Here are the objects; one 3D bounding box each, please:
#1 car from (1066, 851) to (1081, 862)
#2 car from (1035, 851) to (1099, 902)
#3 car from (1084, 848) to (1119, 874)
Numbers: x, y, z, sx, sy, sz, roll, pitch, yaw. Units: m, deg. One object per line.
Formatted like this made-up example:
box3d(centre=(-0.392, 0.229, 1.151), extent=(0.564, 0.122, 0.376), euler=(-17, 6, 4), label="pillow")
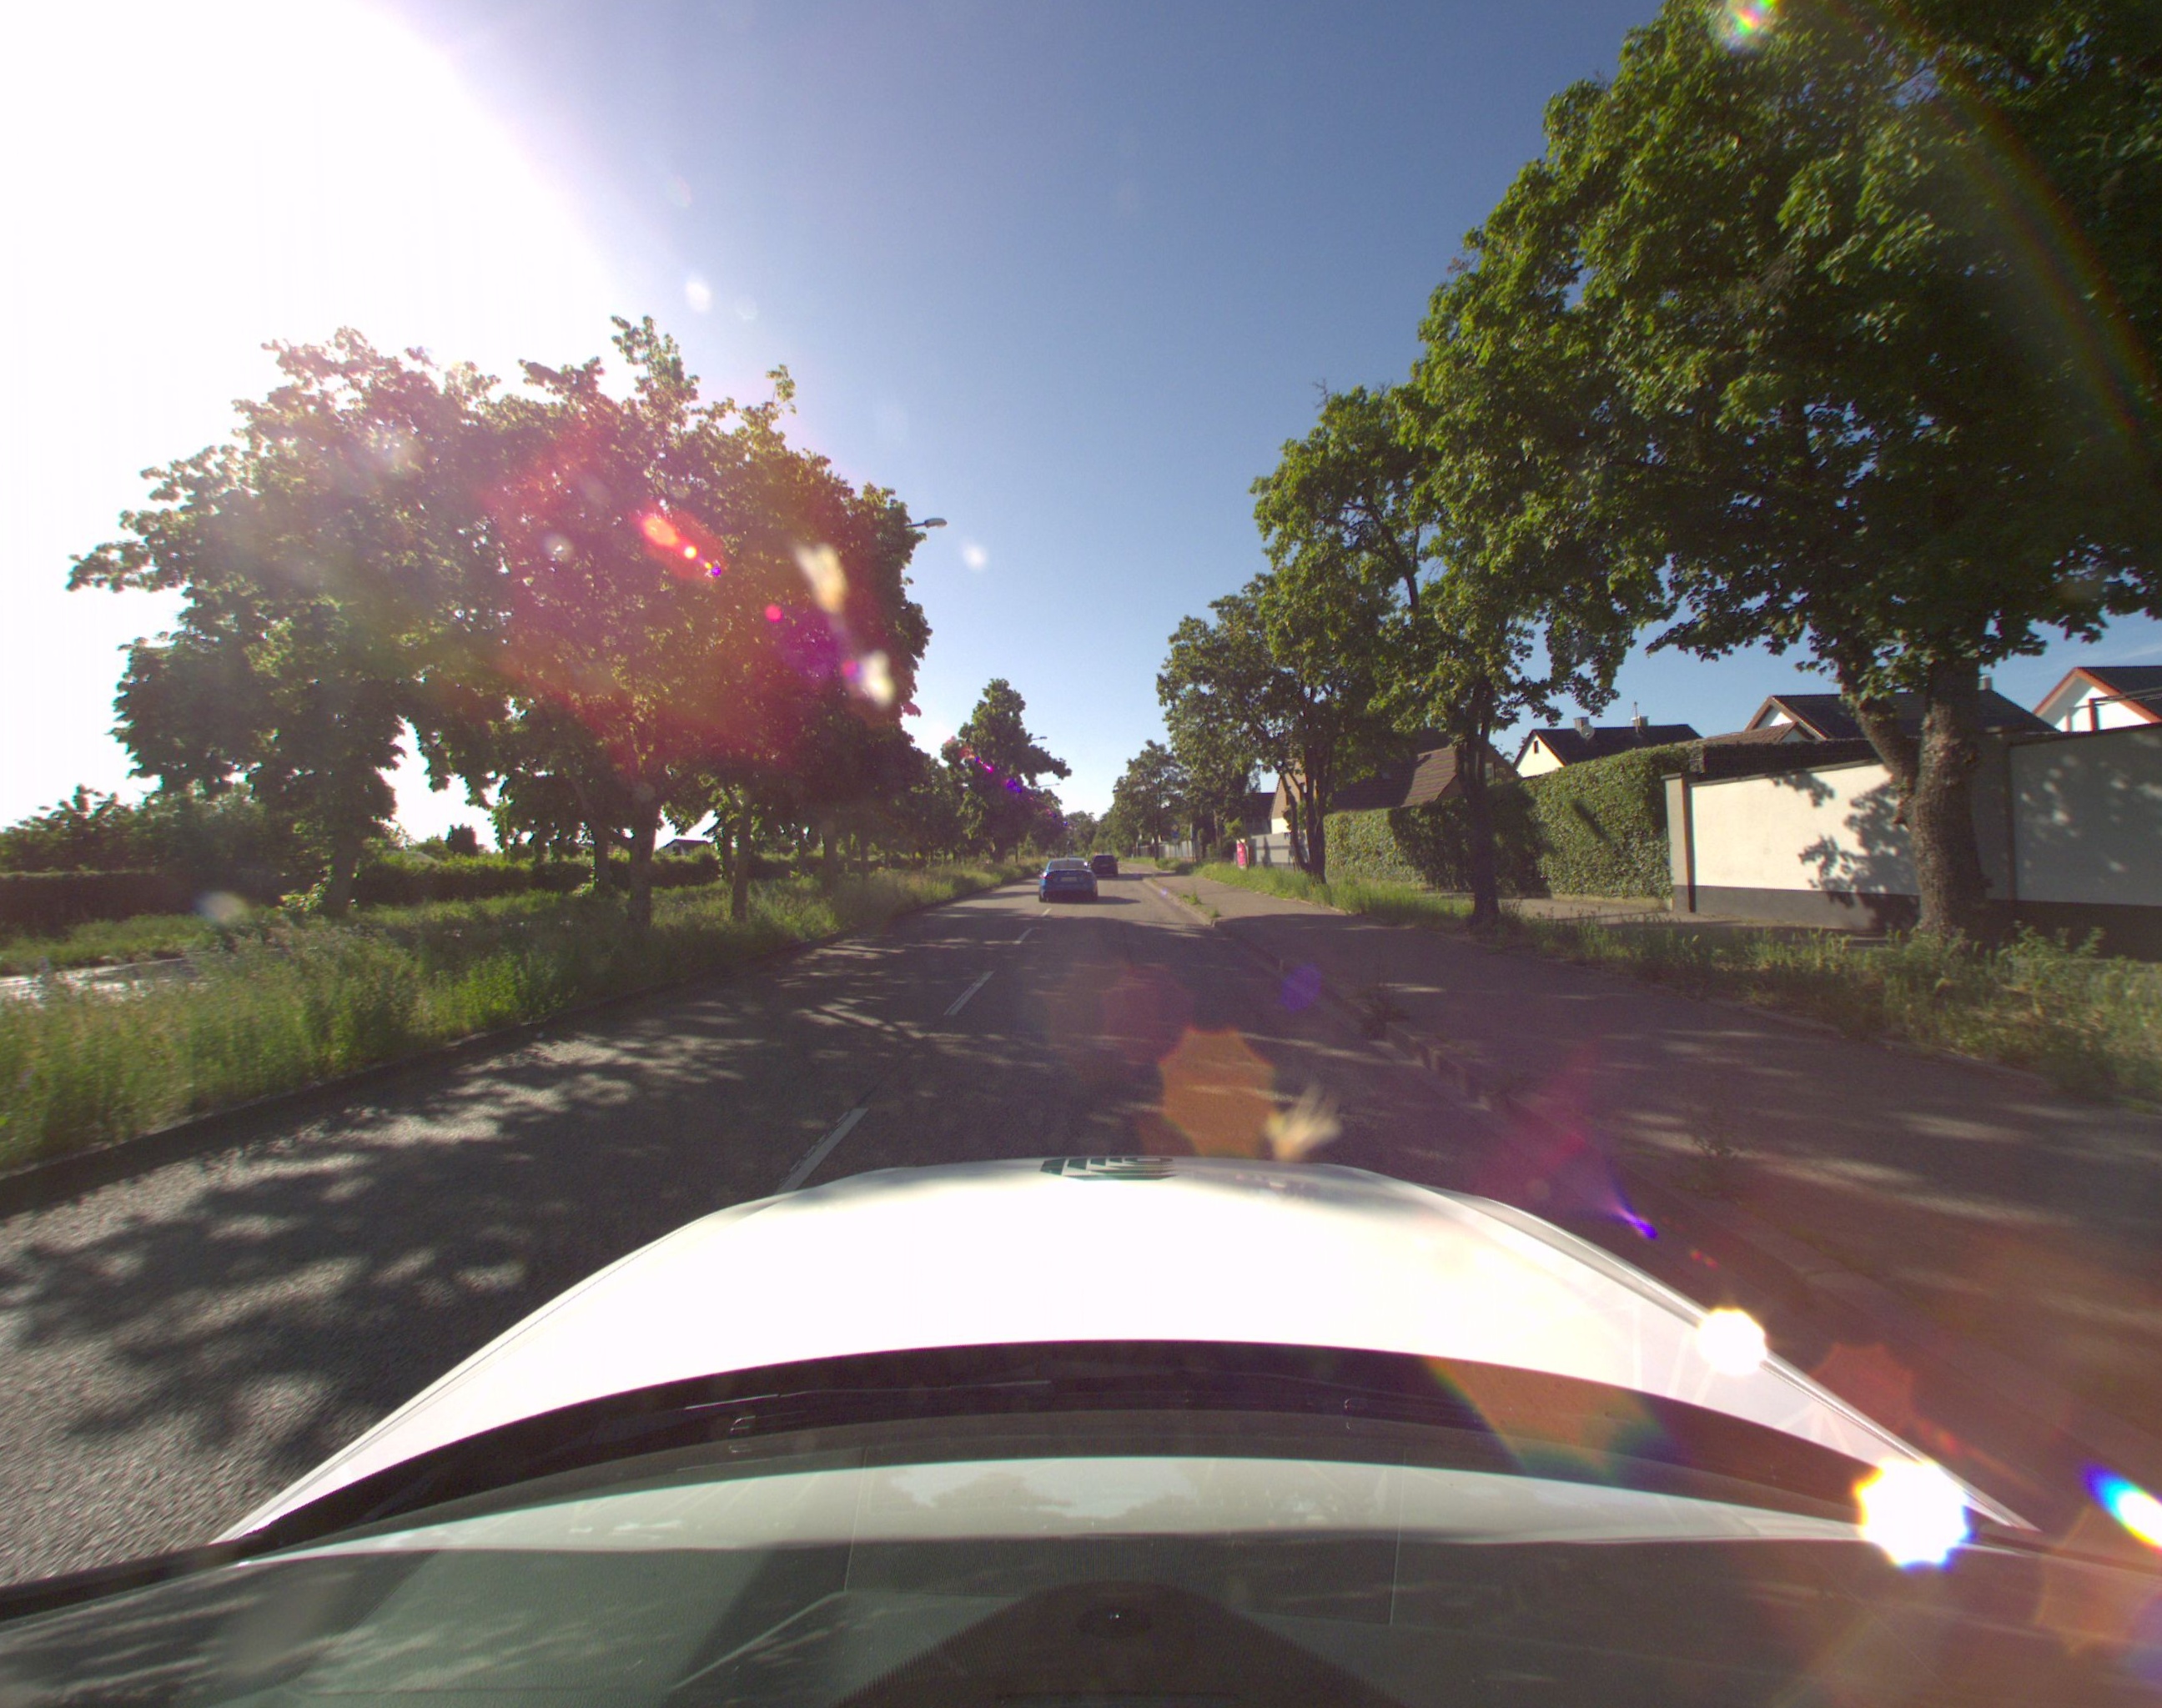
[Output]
box3d(centre=(-1.065, 0.372, 114.113), extent=(1.909, 1.512, 4.066), euler=(-2, 0, -1), label="car")
box3d(centre=(-0.392, 0.737, 27.454), extent=(1.831, 1.474, 4.186), euler=(-3, -1, 2), label="car")
box3d(centre=(1.282, 0.447, 52.702), extent=(1.911, 1.579, 4.178), euler=(-2, 0, -3), label="car")
